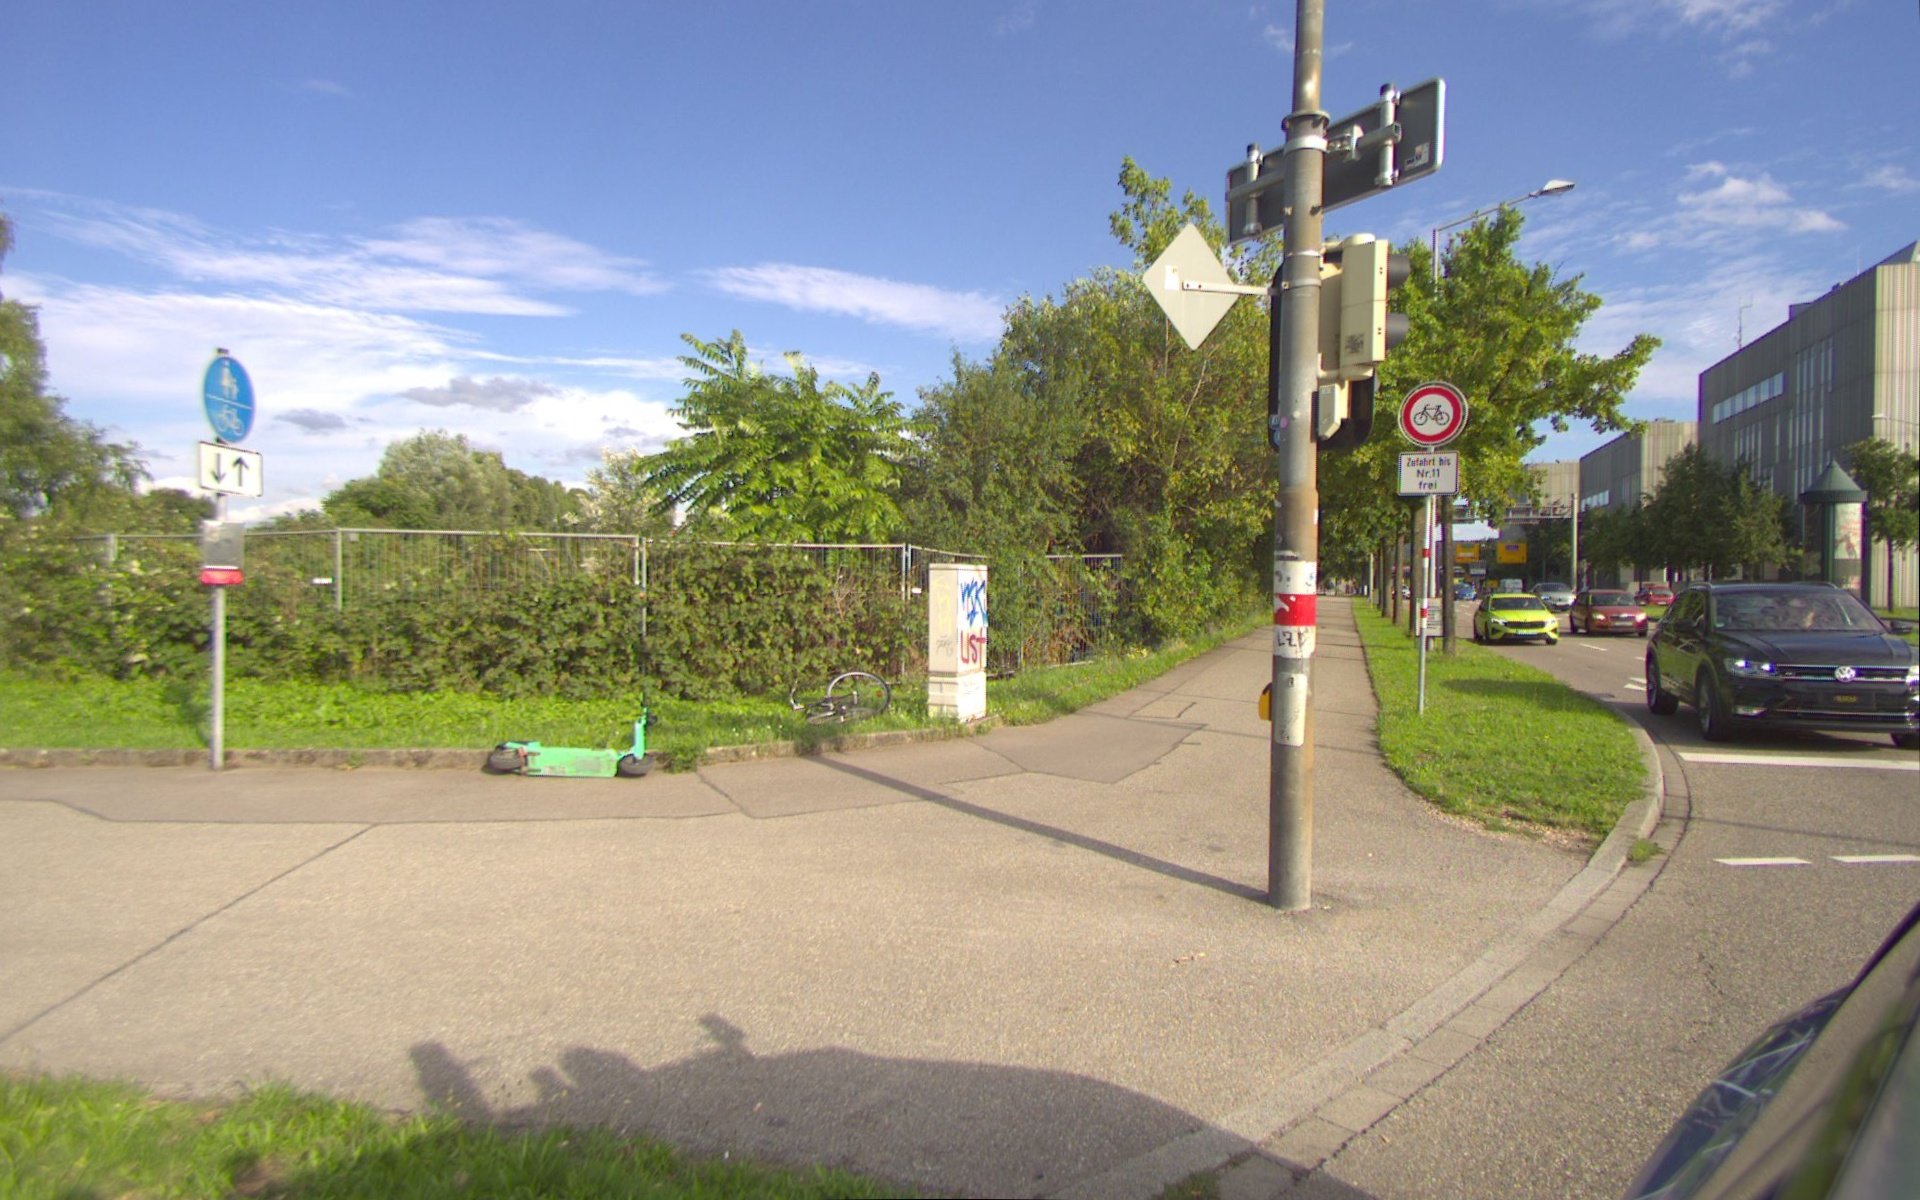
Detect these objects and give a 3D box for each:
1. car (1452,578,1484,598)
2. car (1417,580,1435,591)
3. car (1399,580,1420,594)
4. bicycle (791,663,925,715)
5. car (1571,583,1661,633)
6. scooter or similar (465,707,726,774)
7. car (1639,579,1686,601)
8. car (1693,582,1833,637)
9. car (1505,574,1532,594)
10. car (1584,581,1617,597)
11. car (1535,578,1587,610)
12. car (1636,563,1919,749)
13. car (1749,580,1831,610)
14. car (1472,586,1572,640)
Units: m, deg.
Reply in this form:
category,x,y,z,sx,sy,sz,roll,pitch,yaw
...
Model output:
category,x,y,z,sx,sy,sz,roll,pitch,yaw
car,43.725,-1.036,87.204,1.976,1.682,4.771,1,1,21
car,58.352,-1.830,126.756,1.717,1.407,3.972,1,1,21
car,44.860,-1.316,101.066,1.717,1.407,3.972,1,1,21
bicycle,-1.077,0.854,10.025,1.067,0.350,2.254,0,-1,-12
car,21.192,0.201,32.847,1.675,1.493,4.196,0,1,22
scooter or similar,-2.631,1.028,7.546,1.523,0.284,1.294,1,1,-3
car,47.772,-0.724,68.904,1.664,1.451,3.569,1,1,19
car,22.885,0.215,29.053,1.801,1.438,4.418,0,1,20
car,67.789,-1.993,122.835,2.009,2.282,5.503,2,2,21
car,59.491,-1.003,94.033,1.834,1.452,4.040,1,1,21
car,32.798,-0.360,55.291,1.674,1.492,4.201,-1,3,20
car,9.245,0.452,11.563,1.854,1.676,4.970,-1,1,26
car,42.036,-0.300,51.373,1.661,1.451,3.976,1,1,15
car,16.503,0.345,29.948,1.873,1.438,4.577,-1,1,20
